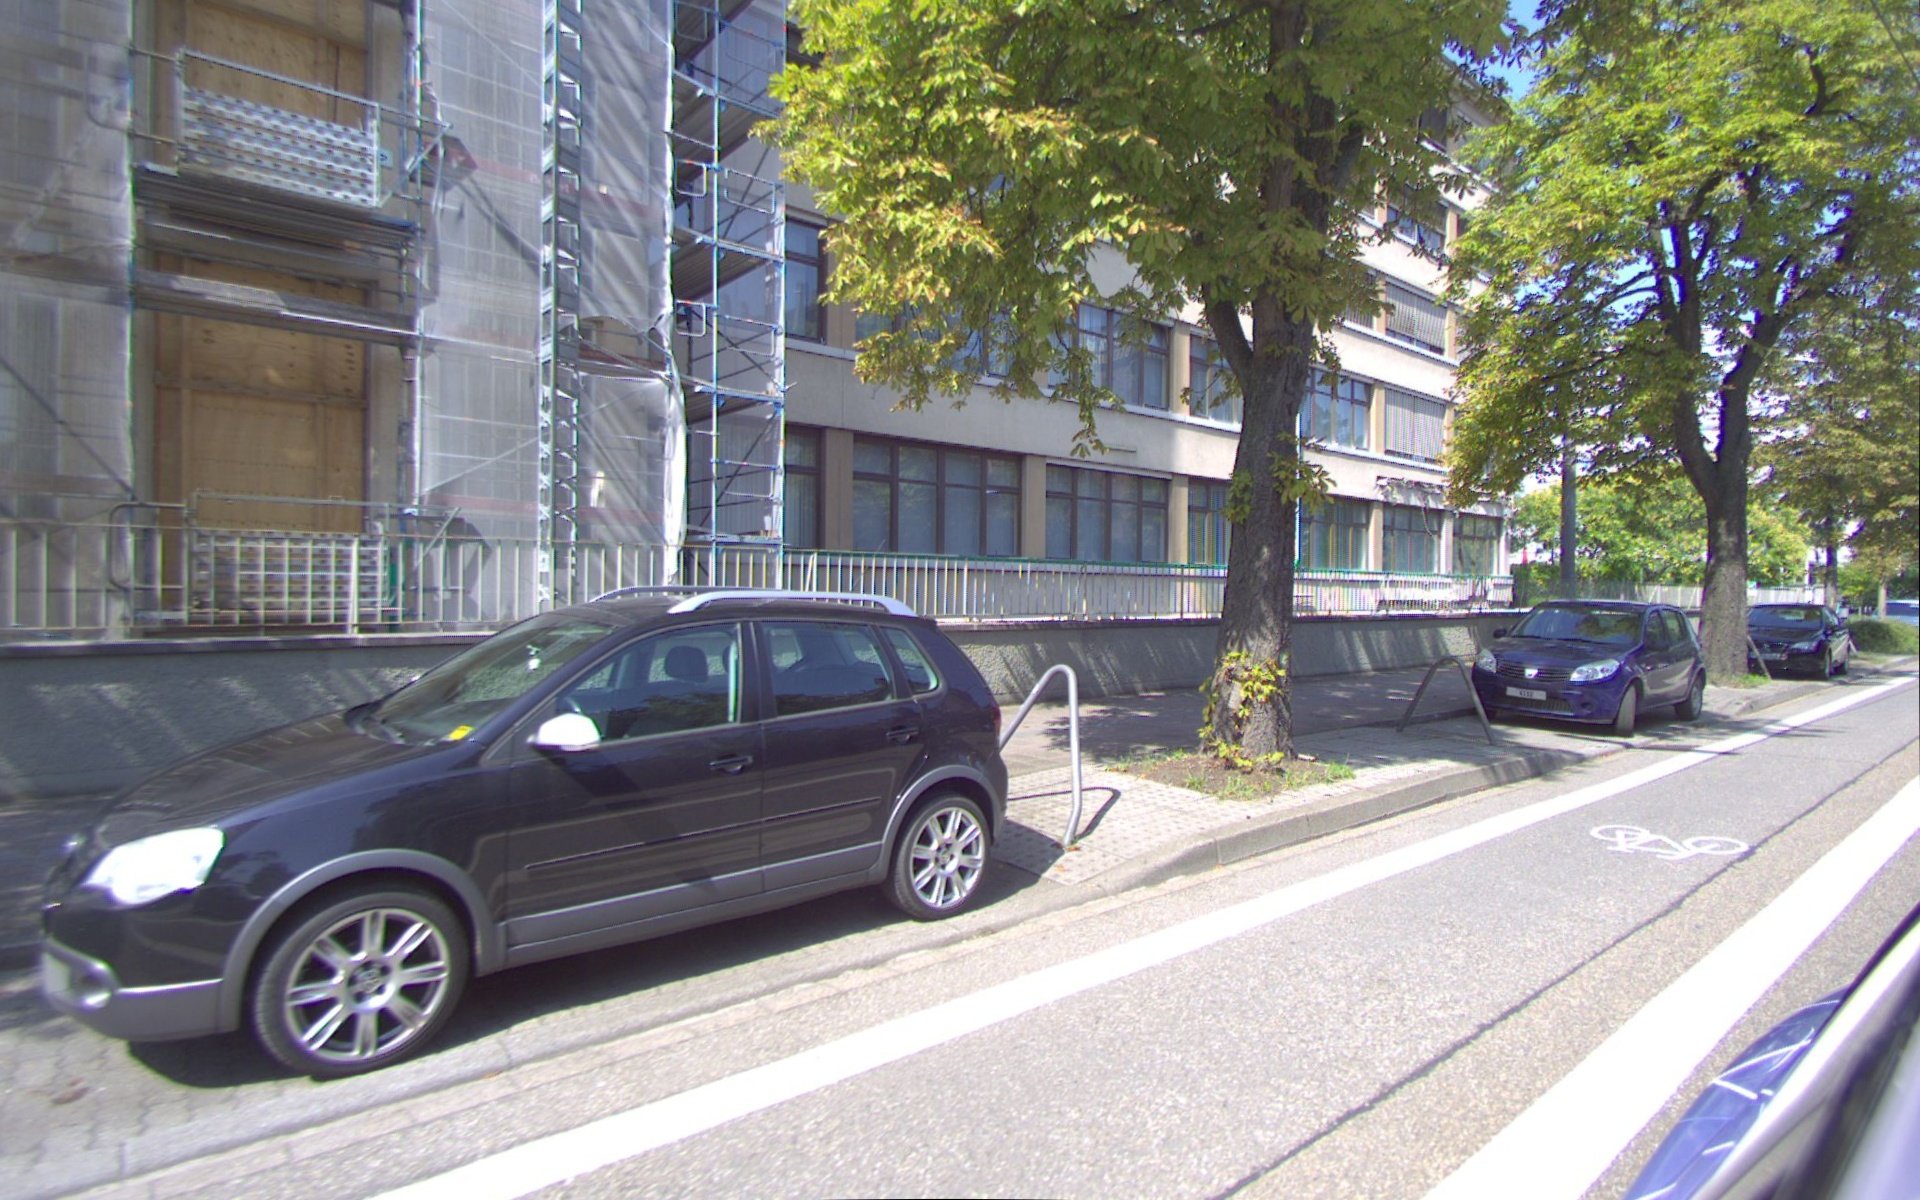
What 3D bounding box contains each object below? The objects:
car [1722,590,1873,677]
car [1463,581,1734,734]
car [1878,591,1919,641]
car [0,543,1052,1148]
[{"bbox_3d":[16.718,0.584,20.138,3.924,1.491,1.642,-1,3,-41],"label":"car"},{"bbox_3d":[8.082,0.616,12.681,4.010,1.589,1.645,1,2,-39],"label":"car"},{"bbox_3d":[30.739,0.481,32.248,3.808,1.491,1.642,0,1,-39],"label":"car"},{"bbox_3d":[-1.576,0.620,4.538,3.929,1.590,1.689,0,1,-40],"label":"car"}]
